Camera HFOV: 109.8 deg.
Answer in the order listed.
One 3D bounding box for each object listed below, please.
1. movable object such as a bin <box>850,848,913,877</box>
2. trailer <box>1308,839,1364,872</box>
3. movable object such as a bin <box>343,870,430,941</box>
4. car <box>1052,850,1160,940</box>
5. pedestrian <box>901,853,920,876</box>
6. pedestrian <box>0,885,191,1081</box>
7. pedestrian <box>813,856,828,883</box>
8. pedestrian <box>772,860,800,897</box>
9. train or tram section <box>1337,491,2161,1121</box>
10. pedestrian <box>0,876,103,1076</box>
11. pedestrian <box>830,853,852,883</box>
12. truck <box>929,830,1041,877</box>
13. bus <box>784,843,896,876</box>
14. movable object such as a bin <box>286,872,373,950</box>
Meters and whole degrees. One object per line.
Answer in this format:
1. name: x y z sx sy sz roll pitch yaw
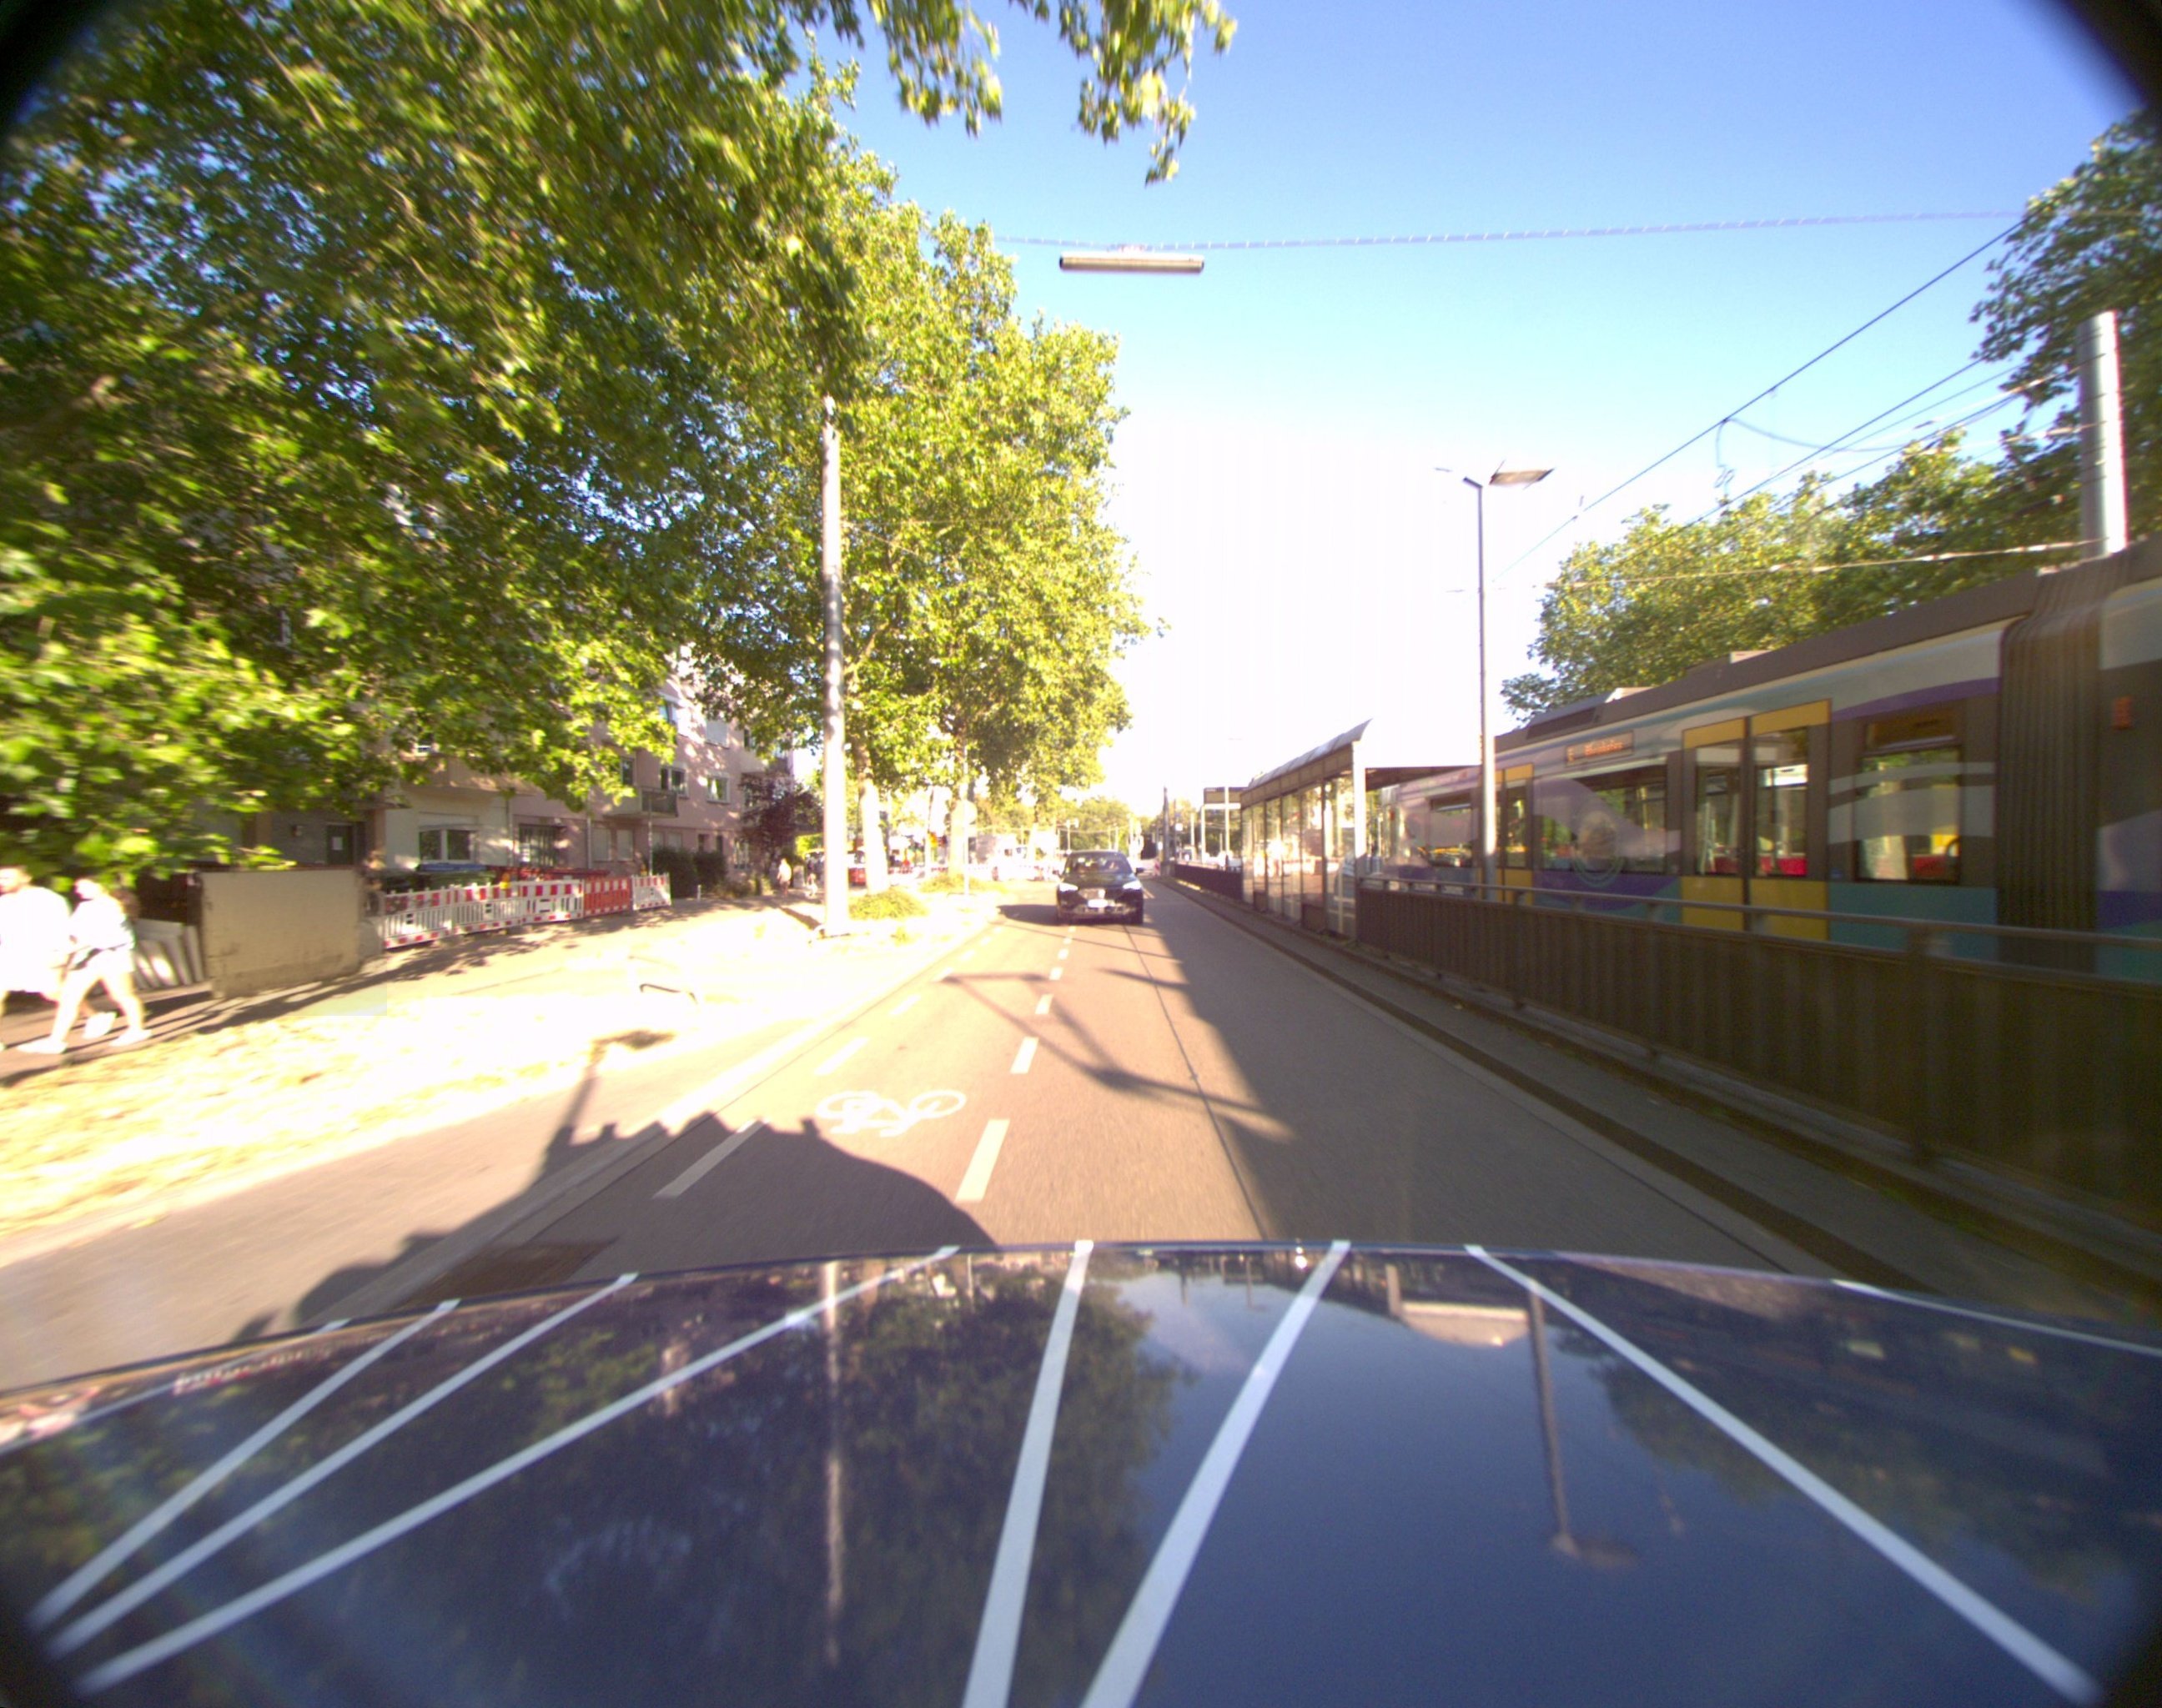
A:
1. movable object such as a bin: -16.693 0.689 63.532 5.193 2.244 2.003 -1 2 33
2. trailer: 16.975 0.117 50.817 1.999 2.103 4.345 -1 0 -5
3. movable object such as a bin: -14.581 1.058 15.963 1.295 1.426 0.841 -1 1 22
4. car: 0.485 0.759 16.496 1.998 1.638 4.204 -2 0 0
5. pedestrian: -13.878 0.847 61.913 1.067 1.788 0.977 -1 1 23
6. pedestrian: -8.692 1.081 6.652 0.792 1.563 0.816 -1 0 -2
7. pedestrian: -16.472 0.992 47.979 0.677 1.697 0.586 -4 -3 35
8. pedestrian: -11.756 0.968 30.280 0.792 1.465 0.816 -1 1 -2
9. train or tram section: 7.085 -0.314 10.900 2.856 3.512 13.397 -1 0 3
10. pedestrian: -9.521 1.043 6.654 0.792 1.657 0.816 -1 1 -2
11. pedestrian: -15.383 0.913 48.642 1.097 1.857 0.842 -5 -4 41
12. truck: -7.747 -0.001 60.732 8.959 3.521 2.826 -1 1 32
13. bus: -28.813 0.668 91.179 12.293 3.701 3.087 -1 1 -1
14. movable object such as a bin: -14.785 1.090 14.953 1.295 1.426 0.841 -1 1 29
